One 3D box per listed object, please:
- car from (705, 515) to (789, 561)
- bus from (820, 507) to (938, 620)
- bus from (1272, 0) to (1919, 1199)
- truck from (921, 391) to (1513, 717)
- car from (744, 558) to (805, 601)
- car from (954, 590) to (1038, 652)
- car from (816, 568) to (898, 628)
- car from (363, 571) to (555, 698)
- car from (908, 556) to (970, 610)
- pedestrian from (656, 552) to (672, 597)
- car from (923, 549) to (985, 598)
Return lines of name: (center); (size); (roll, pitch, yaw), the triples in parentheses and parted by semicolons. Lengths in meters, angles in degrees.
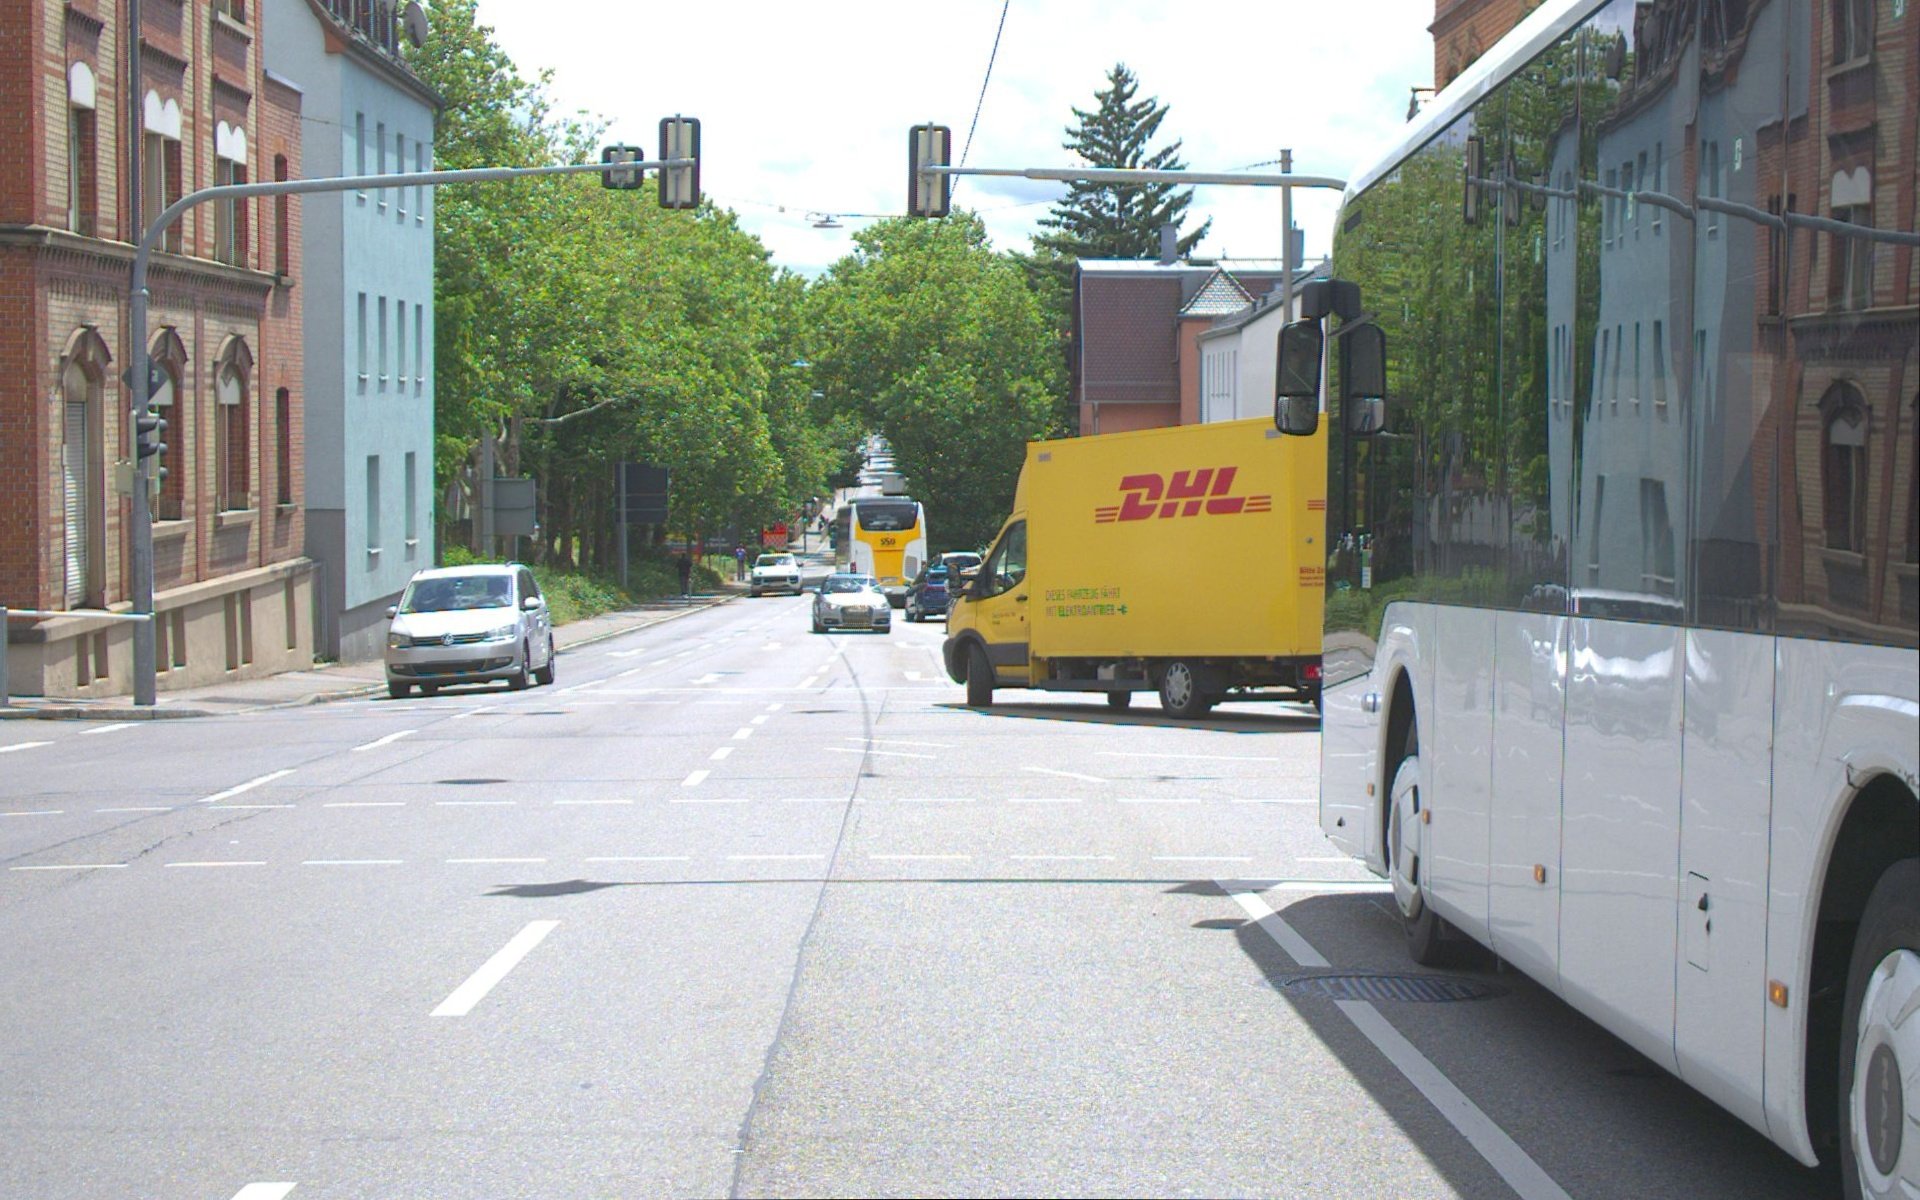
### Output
car: (-14.674, -4.291, 237.172); (5.610, 3.059, 2.147); (0, 1, -42)
bus: (-2.876, -1.277, 117.596); (3.300, 3.618, 11.246); (-1, 1, -5)
bus: (2.959, -0.317, 9.299); (2.904, 3.498, 12.488); (1, 1, -1)
truck: (2.360, -0.449, 34.077); (2.541, 2.903, 6.573); (1, 1, -30)
car: (-7.359, -0.826, 136.485); (2.207, 1.607, 4.547); (-1, 1, -1)
car: (0.817, 0.478, 81.276); (1.865, 1.363, 4.547); (-1, 1, -1)
car: (-2.453, -0.072, 82.846); (1.865, 1.363, 4.547); (-1, 1, -1)
car: (-6.579, 0.419, 45.559); (1.935, 1.558, 4.389); (-1, 1, -1)
car: (-0.575, -0.472, 91.515); (1.608, 1.371, 4.000); (0, 1, -1)
pedestrian: (-11.754, -1.015, 136.550); (0.606, 1.752, 0.654); (-1, 1, -2)
car: (-0.239, -1.010, 129.320); (2.091, 1.824, 4.143); (0, 1, -4)
